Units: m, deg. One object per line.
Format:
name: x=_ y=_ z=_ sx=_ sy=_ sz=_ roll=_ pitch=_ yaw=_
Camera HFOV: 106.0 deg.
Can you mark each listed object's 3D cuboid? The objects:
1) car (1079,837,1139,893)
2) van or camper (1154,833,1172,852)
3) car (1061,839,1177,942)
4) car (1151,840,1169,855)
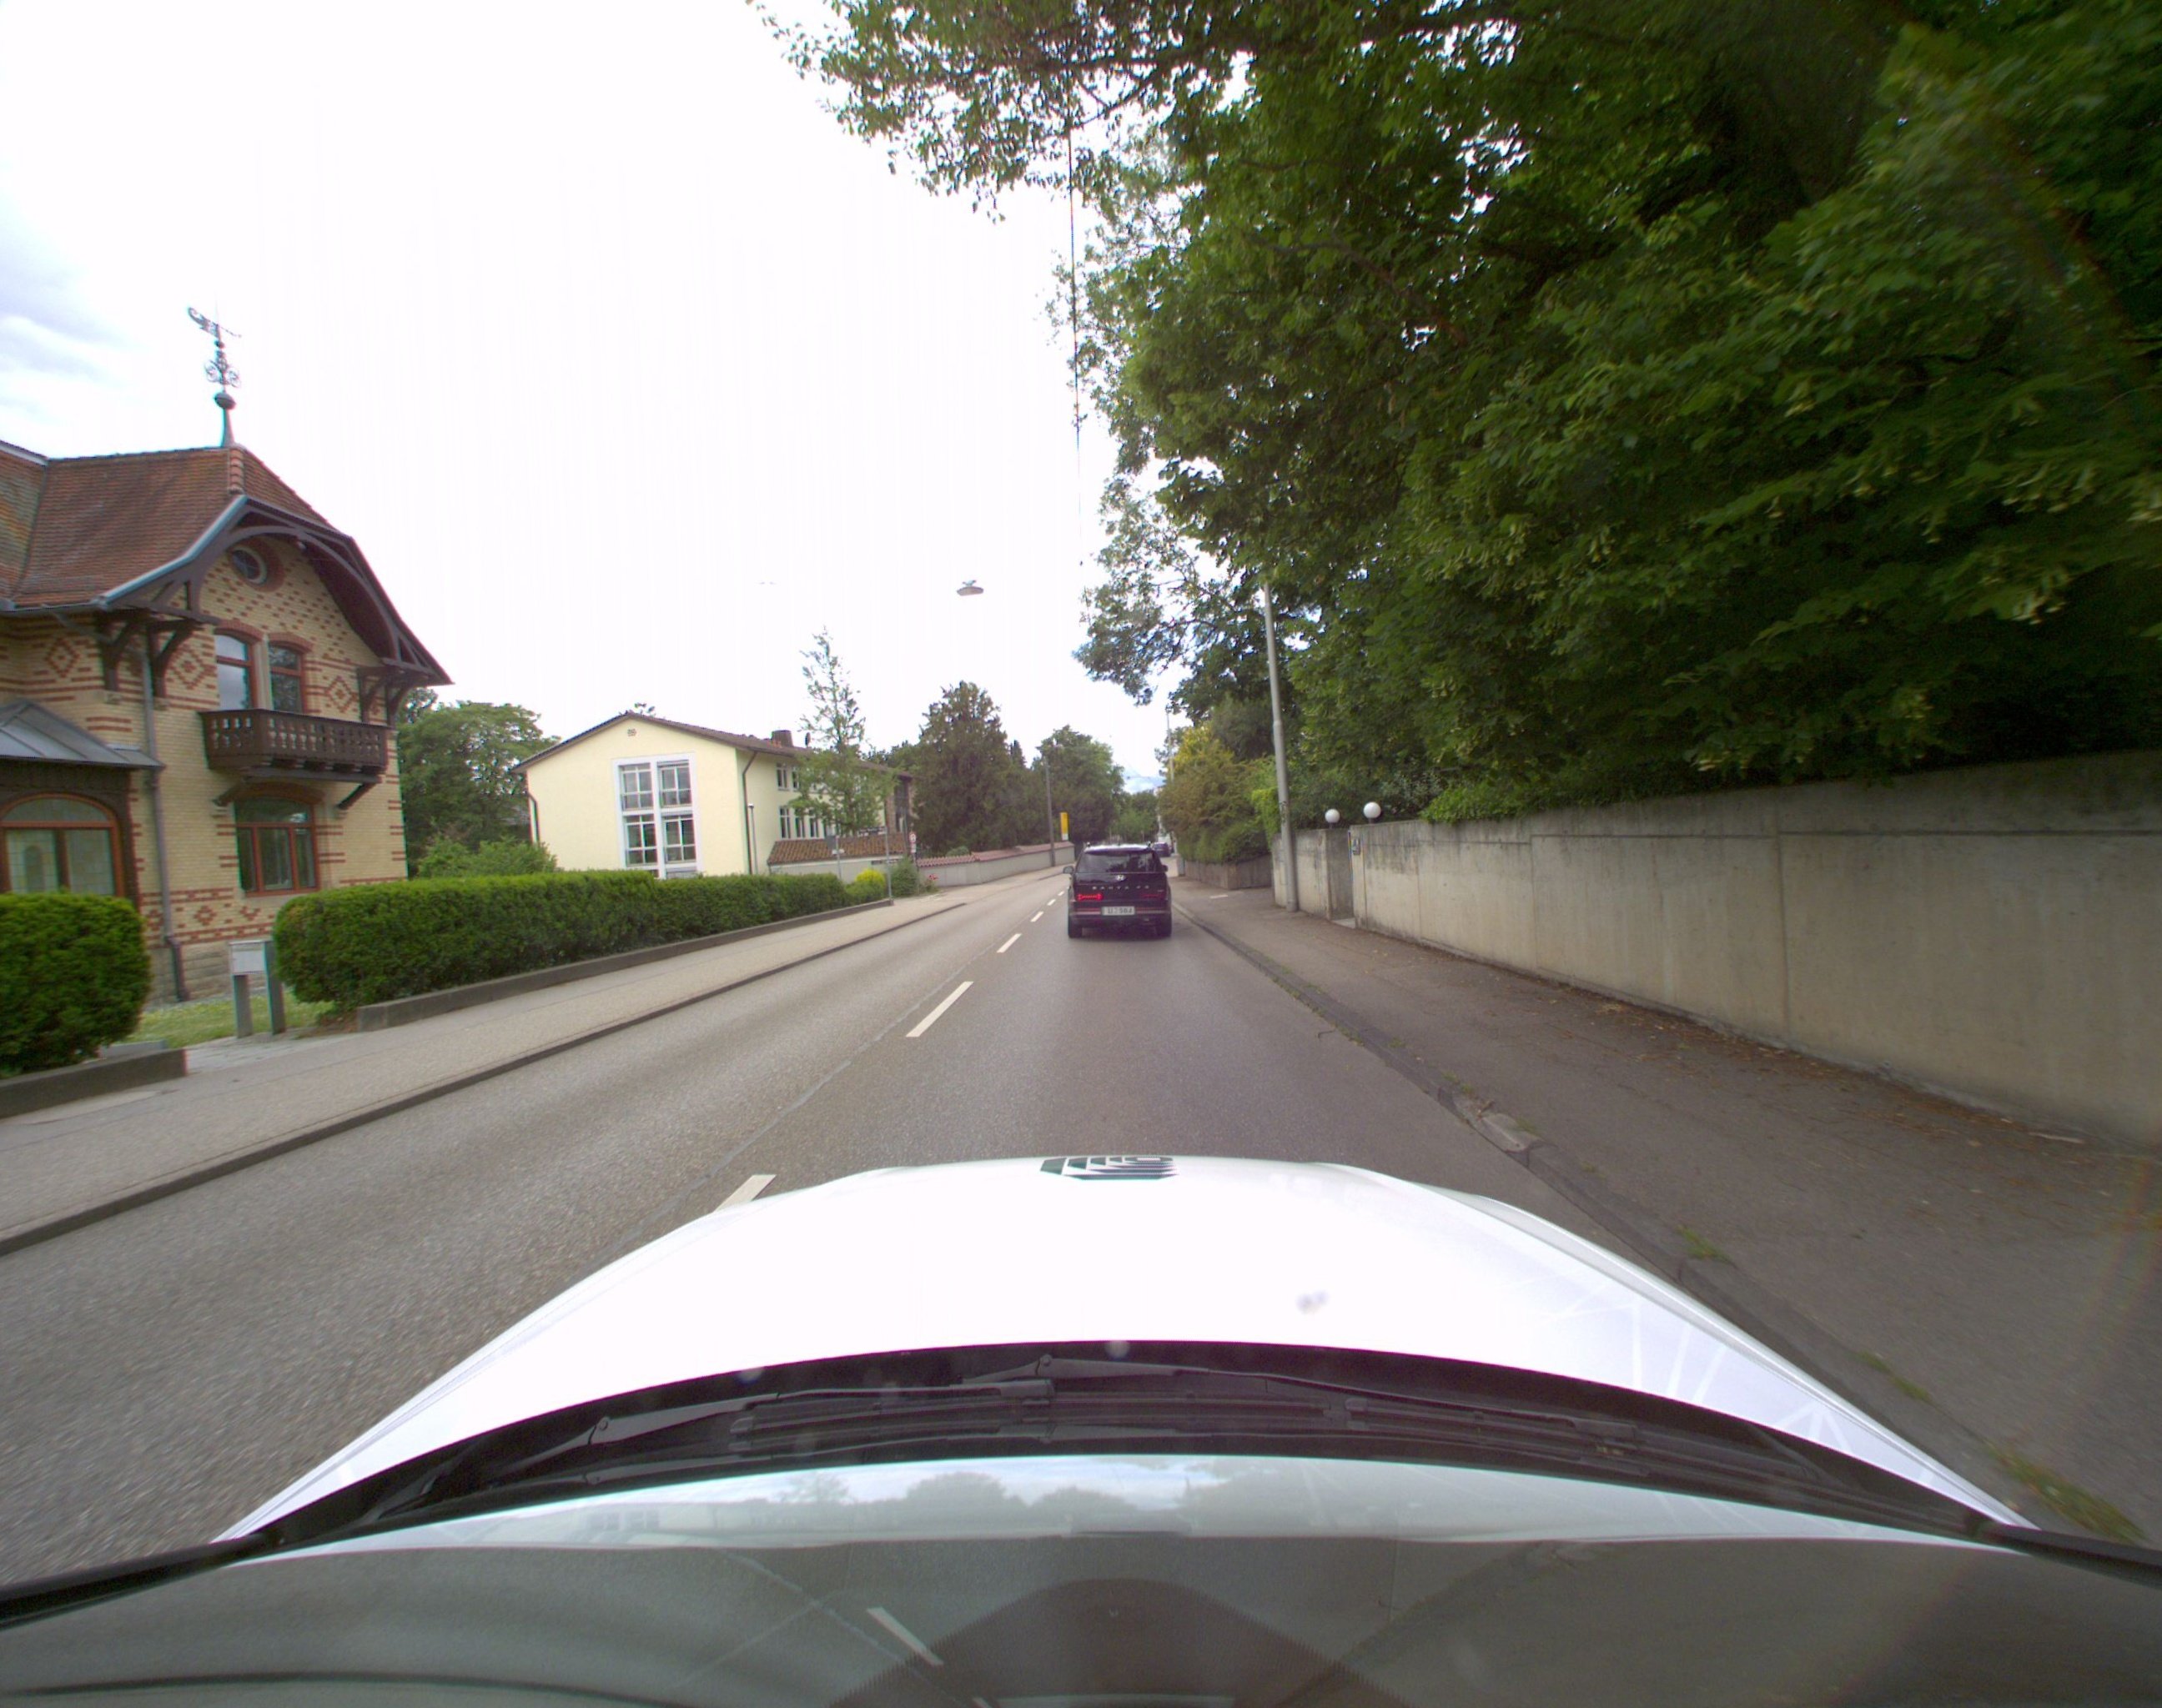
car: x=1.177 y=0.367 z=32.105 sx=1.946 sy=1.955 sz=4.233 roll=-1 pitch=2 yaw=7
van or camper: x=9.850 y=-1.400 z=97.466 sx=1.665 sy=2.007 sz=3.949 roll=-4 pitch=2 yaw=10
car: x=0.714 y=0.604 z=16.094 sx=1.950 sy=1.712 sz=4.225 roll=-2 pitch=1 yaw=2
car: x=8.094 y=-0.659 z=82.834 sx=1.667 sy=1.422 sz=3.945 roll=-4 pitch=0 yaw=7
